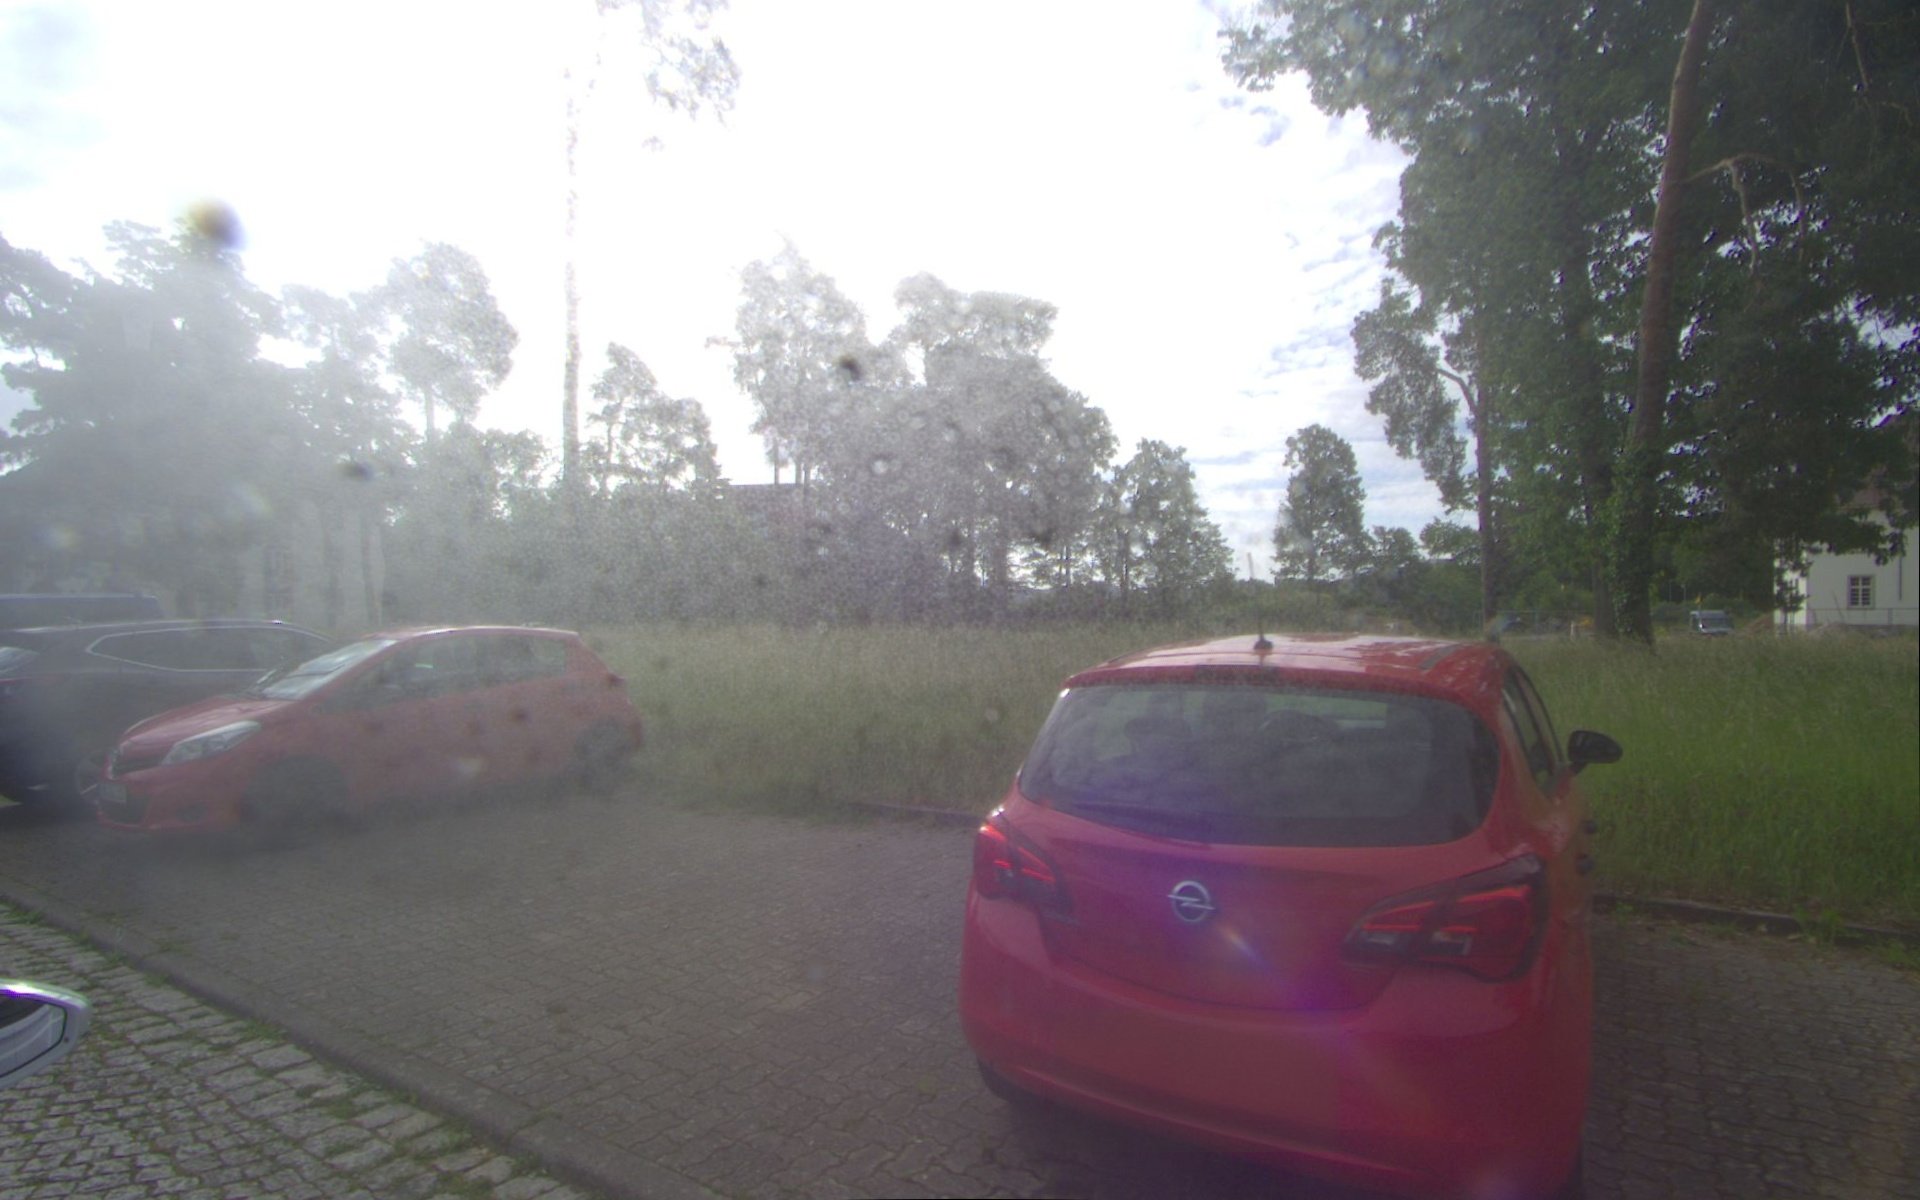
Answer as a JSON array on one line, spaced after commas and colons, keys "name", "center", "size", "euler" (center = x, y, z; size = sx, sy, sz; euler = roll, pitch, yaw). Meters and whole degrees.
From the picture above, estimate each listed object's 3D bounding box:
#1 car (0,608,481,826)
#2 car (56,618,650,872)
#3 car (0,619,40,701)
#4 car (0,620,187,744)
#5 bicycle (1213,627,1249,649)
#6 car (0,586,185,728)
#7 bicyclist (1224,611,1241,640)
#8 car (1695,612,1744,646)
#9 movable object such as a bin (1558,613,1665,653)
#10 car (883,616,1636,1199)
[{"name": "car", "center": [-6.921, 0.896, 9.471], "size": [1.725, 1.573, 4.022], "euler": [-1, 0, 31]}, {"name": "car", "center": [-4.638, 0.930, 8.196], "size": [1.726, 1.479, 3.783], "euler": [-1, 0, 33]}, {"name": "car", "center": [-18.583, 1.100, 17.305], "size": [1.502, 1.469, 3.665], "euler": [-1, 0, 31]}, {"name": "car", "center": [-12.324, 1.030, 12.693], "size": [1.591, 1.469, 3.666], "euler": [-1, 0, 31]}, {"name": "bicycle", "center": [15.763, 2.196, 58.287], "size": [1.906, 1.244, 0.721], "euler": [-1, -2, 35]}, {"name": "car", "center": [-14.321, 0.808, 14.312], "size": [1.903, 1.980, 4.745], "euler": [-1, 0, 31]}, {"name": "bicyclist", "center": [15.871, 1.483, 58.292], "size": [0.762, 1.717, 0.723], "euler": [0, -1, 34]}, {"name": "car", "center": [55.900, 2.156, 73.787], "size": [1.886, 2.378, 4.584], "euler": [0, -2, 25]}, {"name": "movable object such as a bin", "center": [45.117, 2.288, 69.530], "size": [2.142, 2.689, 5.954], "euler": [1, -2, -26]}, {"name": "car", "center": [1.544, 0.841, 3.966], "size": [1.754, 1.479, 3.817], "euler": [-1, 0, 32]}]
